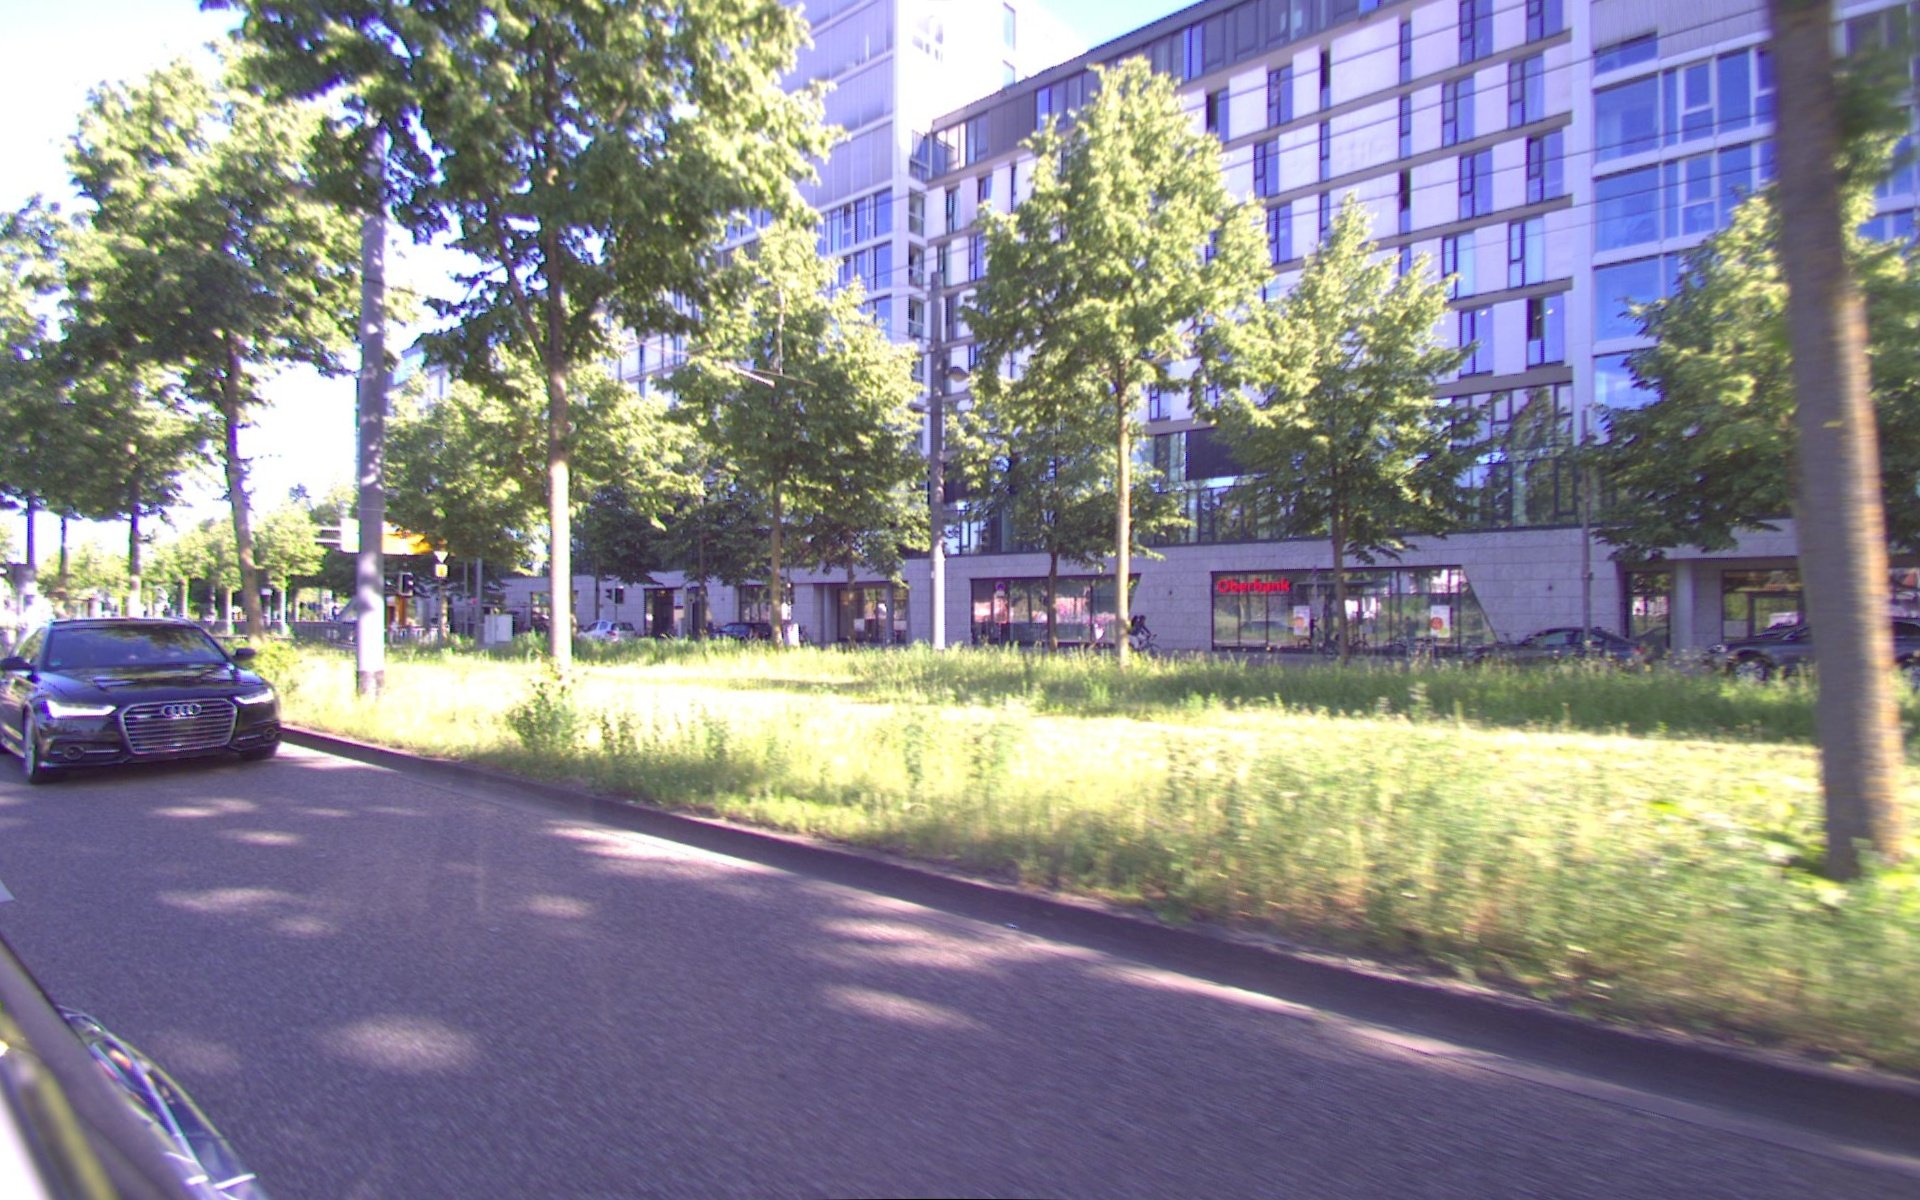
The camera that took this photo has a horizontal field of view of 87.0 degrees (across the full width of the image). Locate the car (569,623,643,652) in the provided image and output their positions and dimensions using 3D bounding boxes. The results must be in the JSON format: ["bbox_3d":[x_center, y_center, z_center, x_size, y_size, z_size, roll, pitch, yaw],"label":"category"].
[{"bbox_3d":[-16.518,1.722,47.203,3.482,1.247,1.751,-1,-1,40],"label":"car"}]

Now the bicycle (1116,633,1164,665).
[{"bbox_3d":[6.558,1.783,36.930,1.571,1.128,0.724,-2,-2,43],"label":"bicycle"}]

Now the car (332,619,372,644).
[{"bbox_3d":[-51.531,2.668,85.731,3.999,1.940,1.780,1,0,42],"label":"car"}]

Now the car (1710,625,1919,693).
[{"bbox_3d":[19.910,1.277,22.745,4.802,1.430,1.651,-1,-2,41],"label":"car"}]

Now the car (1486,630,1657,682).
[{"bbox_3d":[15.787,1.401,26.195,3.580,1.216,1.651,-1,-1,40],"label":"car"}]

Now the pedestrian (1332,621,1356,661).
[{"bbox_3d":[13.883,1.484,36.608,0.690,1.423,0.403,1,0,41],"label":"pedestrian"}]

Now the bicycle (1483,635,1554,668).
[{"bbox_3d":[18.425,1.687,33.395,1.981,0.979,0.536,1,0,41],"label":"bicycle"}]

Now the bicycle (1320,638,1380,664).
[{"bbox_3d":[14.224,1.851,36.944,2.013,0.887,0.536,0,-1,41],"label":"bicycle"}]

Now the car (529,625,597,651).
[{"bbox_3d":[-23.748,2.259,60.462,4.543,1.431,1.978,-1,-1,41],"label":"car"}]

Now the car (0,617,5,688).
[{"bbox_3d":[-23.664,1.191,23.389,4.525,1.581,1.825,-1,-1,40],"label":"car"}]

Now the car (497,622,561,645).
[{"bbox_3d":[-27.342,2.097,64.138,4.543,1.431,1.938,-1,-2,41],"label":"car"}]

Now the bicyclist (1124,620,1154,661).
[{"bbox_3d":[6.529,1.460,36.965,0.832,1.475,0.712,-2,-2,43],"label":"bicyclist"}]

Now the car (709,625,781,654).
[{"bbox_3d":[-10.425,1.896,48.979,3.463,1.244,1.633,1,0,41],"label":"car"}]

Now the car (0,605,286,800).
[{"bbox_3d":[-8.598,0.859,10.288,4.599,1.538,1.766,-1,0,41],"label":"car"}]
